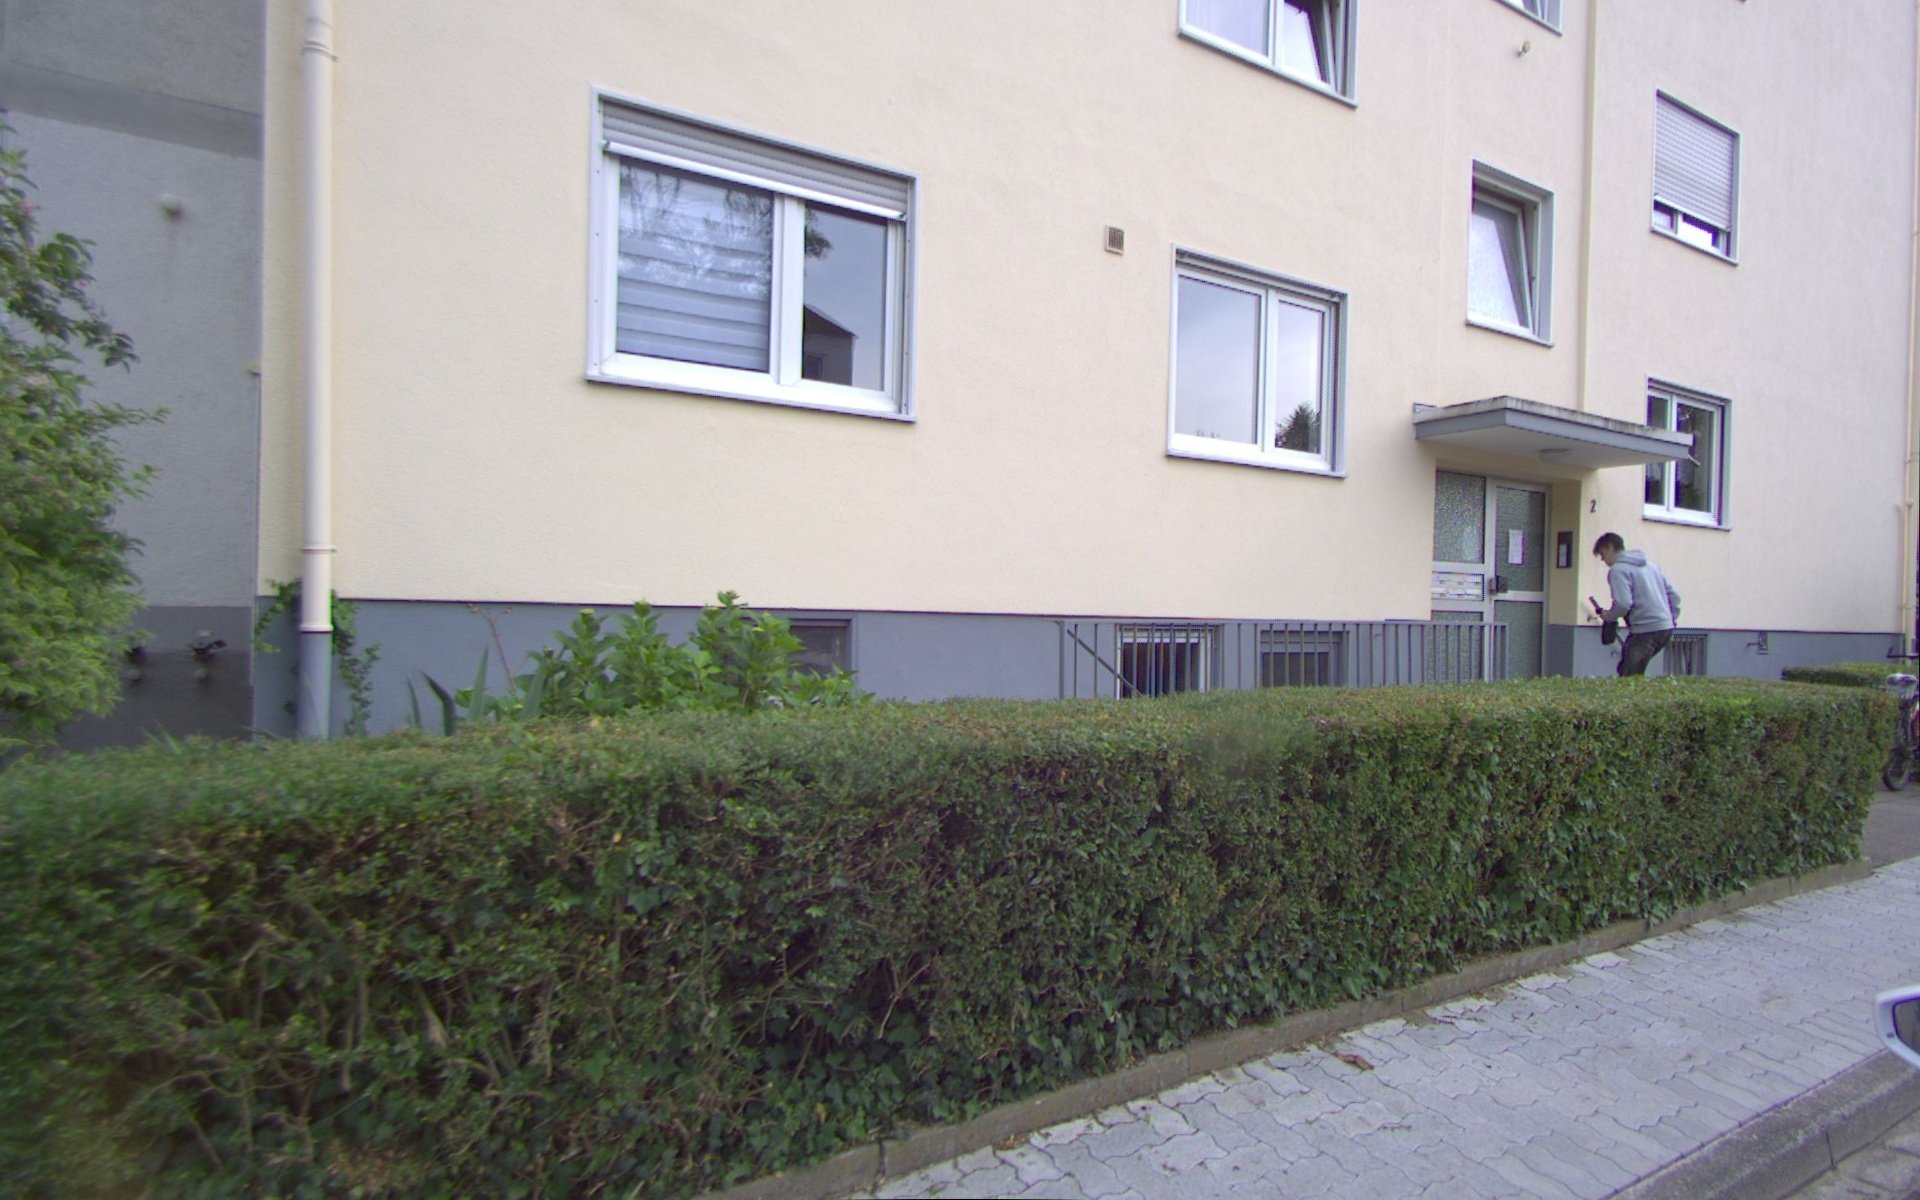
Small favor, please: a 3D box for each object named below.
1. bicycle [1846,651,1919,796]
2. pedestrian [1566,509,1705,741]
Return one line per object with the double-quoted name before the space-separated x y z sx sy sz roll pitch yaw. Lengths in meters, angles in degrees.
"bicycle" 7.758 0.978 8.208 1.401 1.090 0.316 2 1 -30
"pedestrian" 5.485 0.188 8.158 0.749 1.772 0.674 1 1 -36
